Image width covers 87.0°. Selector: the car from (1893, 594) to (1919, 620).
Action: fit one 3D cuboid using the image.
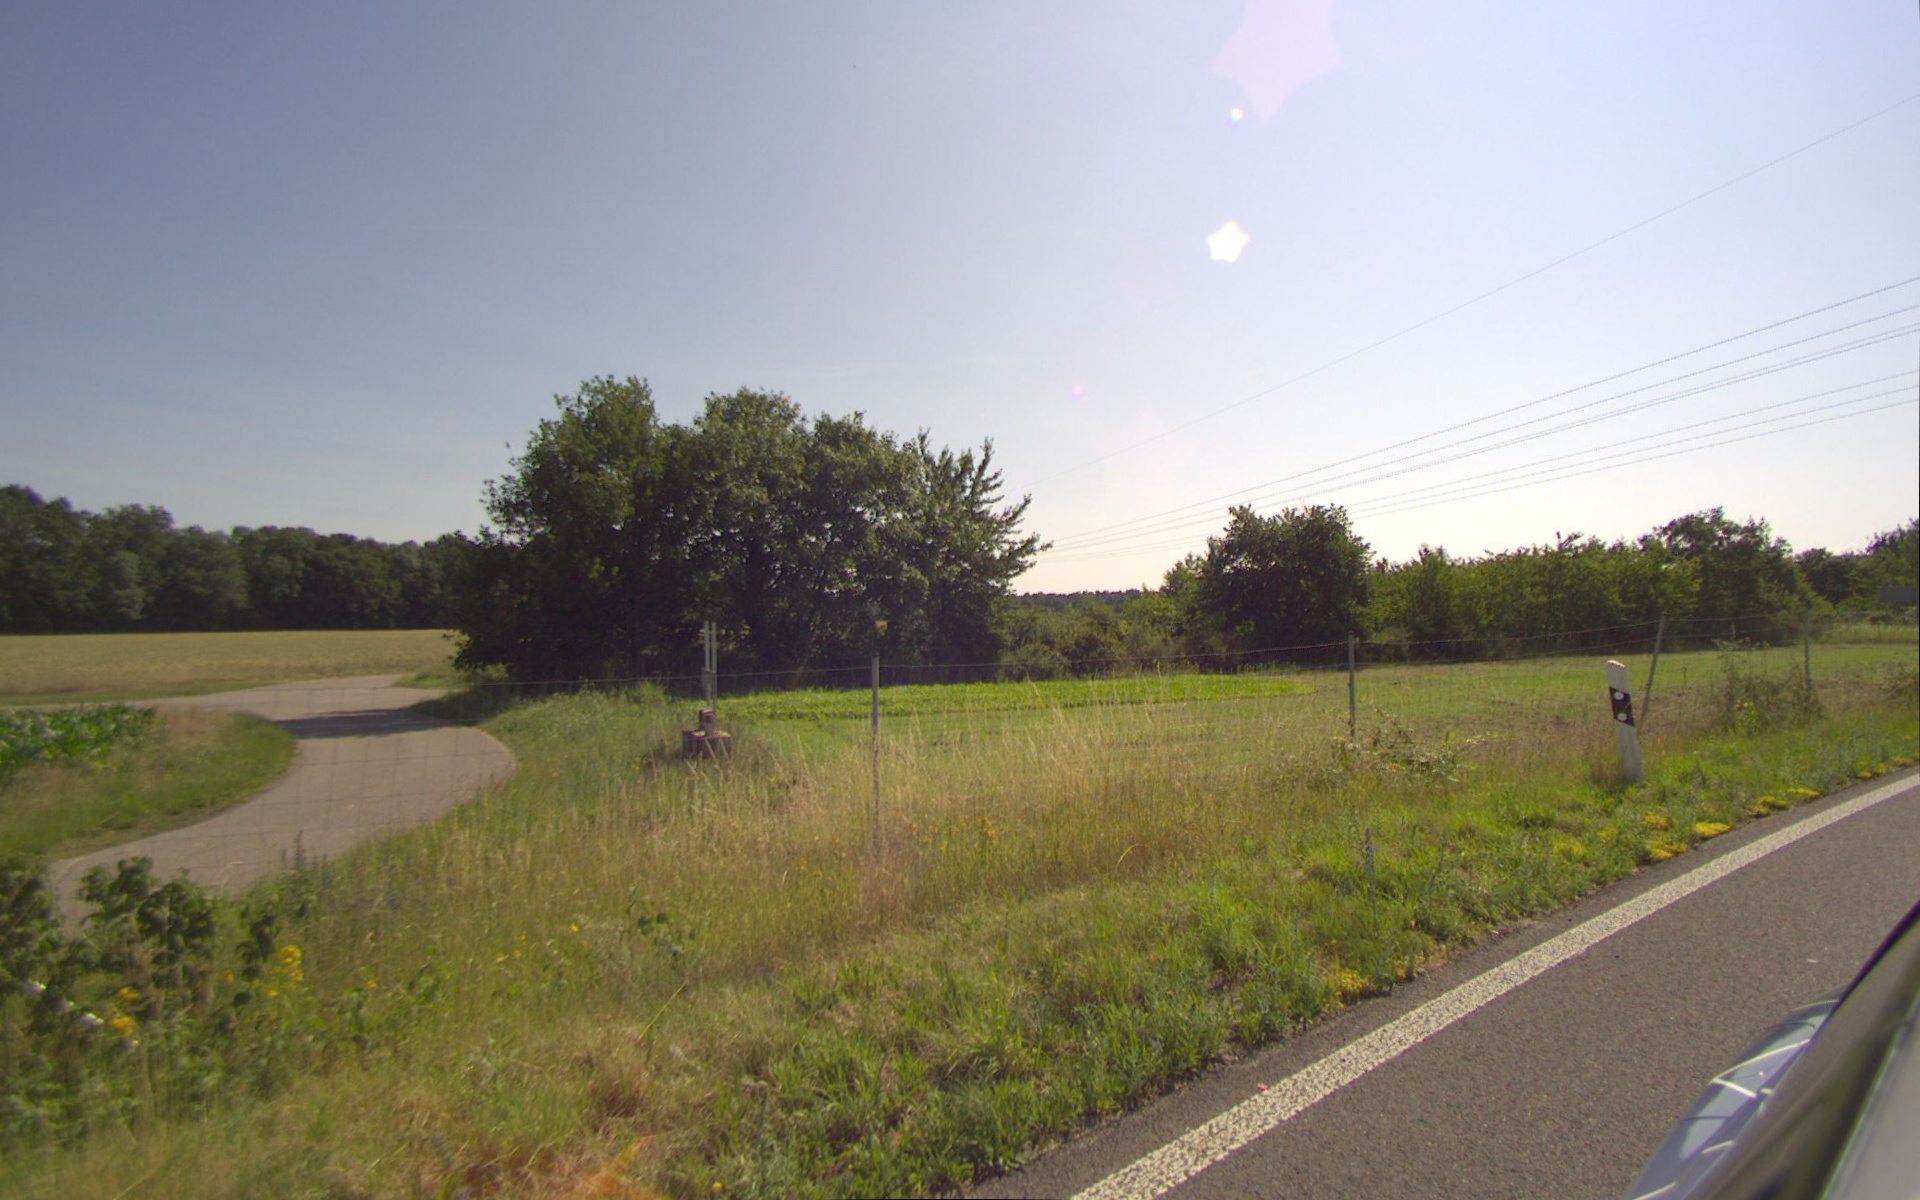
[{"bbox_3d":[63.852,0.397,65.059,2.058,1.661,5.362,-1,-2,-16],"label":"car"}]
